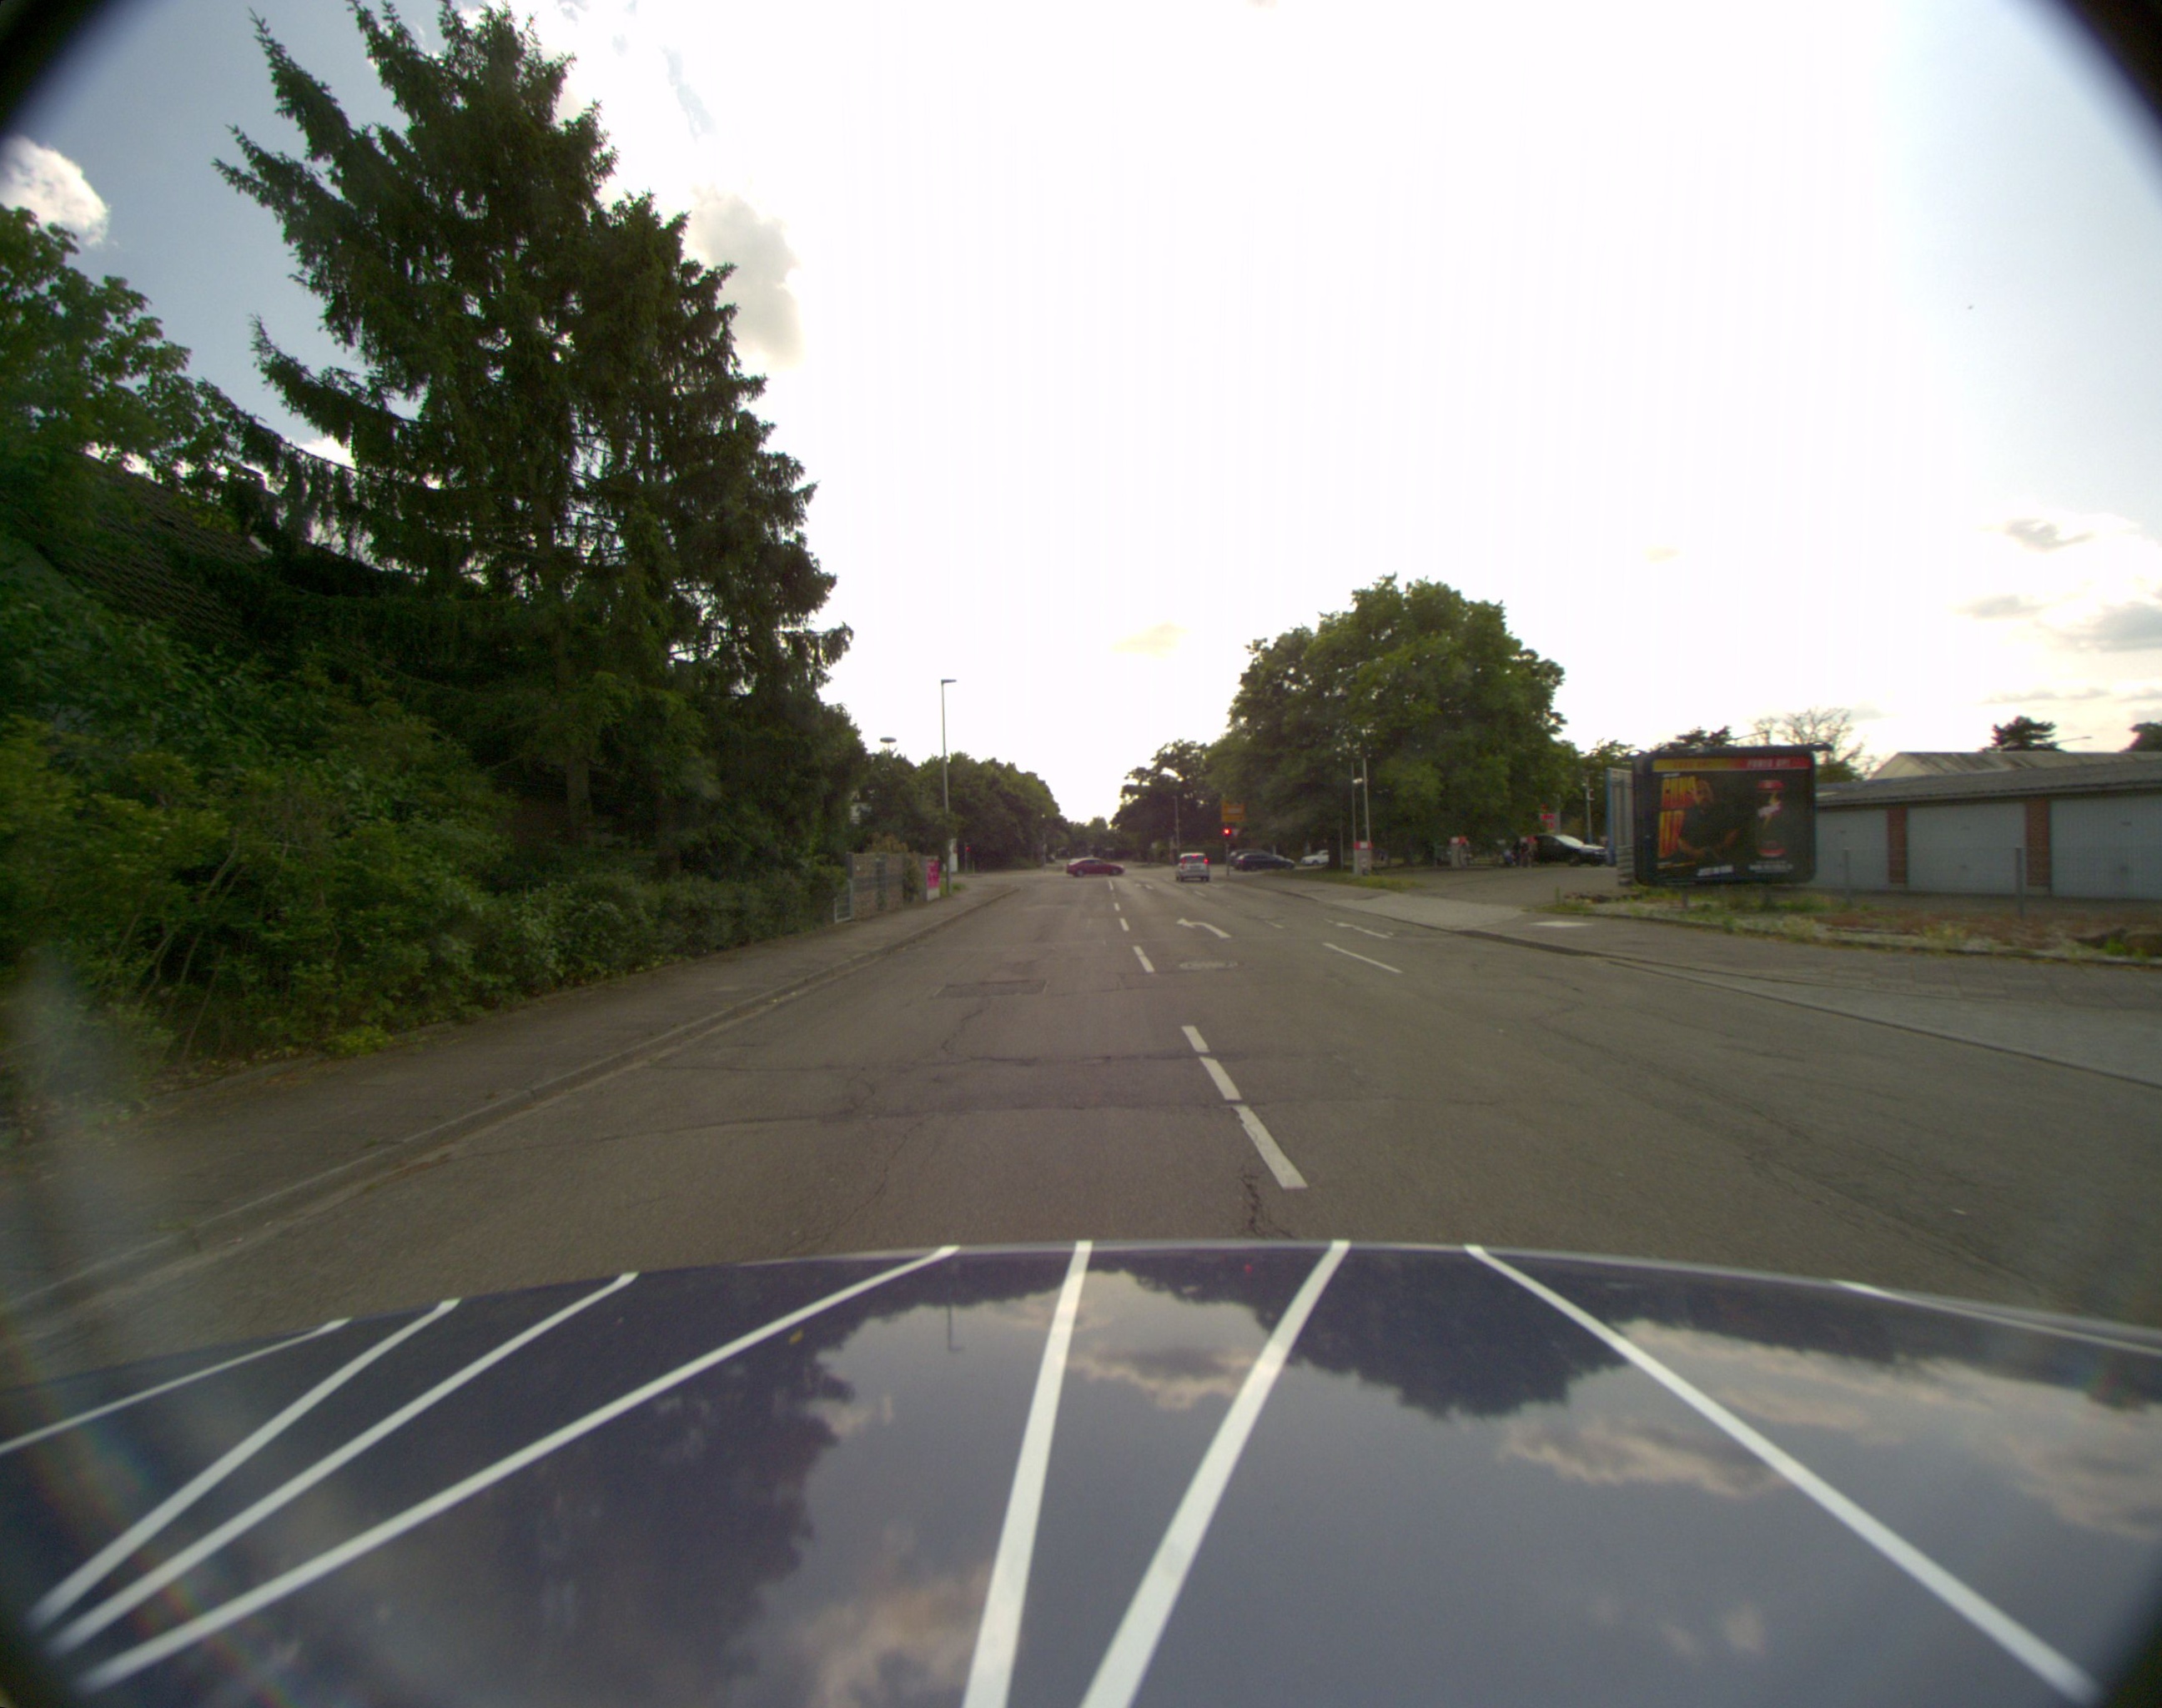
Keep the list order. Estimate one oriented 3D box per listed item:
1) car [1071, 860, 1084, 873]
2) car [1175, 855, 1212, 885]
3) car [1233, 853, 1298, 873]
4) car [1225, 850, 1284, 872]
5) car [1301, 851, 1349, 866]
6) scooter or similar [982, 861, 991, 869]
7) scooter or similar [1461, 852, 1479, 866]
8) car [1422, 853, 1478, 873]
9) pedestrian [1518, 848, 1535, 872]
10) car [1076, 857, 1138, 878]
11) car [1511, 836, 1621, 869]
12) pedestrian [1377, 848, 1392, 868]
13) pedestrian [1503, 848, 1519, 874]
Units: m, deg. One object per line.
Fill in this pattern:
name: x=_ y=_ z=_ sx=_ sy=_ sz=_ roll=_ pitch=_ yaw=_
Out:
car: x=-0.451 y=1.541 z=97.717 sx=1.730 sy=1.421 sz=3.998 roll=-1 pitch=2 yaw=0
car: x=6.125 y=0.845 z=41.609 sx=1.558 sy=1.508 sz=3.609 roll=-2 pitch=0 yaw=2
car: x=15.075 y=0.721 z=62.078 sx=4.874 sy=1.488 sz=1.800 roll=-1 pitch=2 yaw=-11
car: x=14.911 y=0.588 z=65.311 sx=4.550 sy=1.736 sz=1.816 roll=-1 pitch=1 yaw=-11
car: x=25.857 y=0.467 z=80.500 sx=4.536 sy=1.454 sz=1.727 roll=-2 pitch=0 yaw=-11
scooter or similar: x=-10.690 y=1.221 z=85.808 sx=1.036 sy=0.937 sz=0.296 roll=-1 pitch=3 yaw=-4
scooter or similar: x=29.108 y=0.396 z=56.883 sx=1.272 sy=0.974 sz=0.221 roll=-2 pitch=1 yaw=-11
car: x=33.454 y=0.803 z=68.923 sx=4.361 sy=1.610 sz=1.702 roll=-2 pitch=1 yaw=-11
pedestrian: x=22.439 y=0.291 z=38.275 sx=0.643 sy=1.183 sz=0.767 roll=1 pitch=3 yaw=35
car: x=1.999 y=1.038 z=59.284 sx=4.536 sy=1.454 sz=1.726 roll=-2 pitch=2 yaw=-11
car: x=25.962 y=-0.043 z=40.862 sx=2.156 sy=1.586 sz=4.556 roll=-2 pitch=0 yaw=-21
pedestrian: x=23.994 y=0.329 z=60.149 sx=0.760 sy=1.523 sz=0.726 roll=-2 pitch=0 yaw=-27
pedestrian: x=21.481 y=0.329 z=37.954 sx=0.643 sy=1.248 sz=0.767 roll=1 pitch=3 yaw=35
